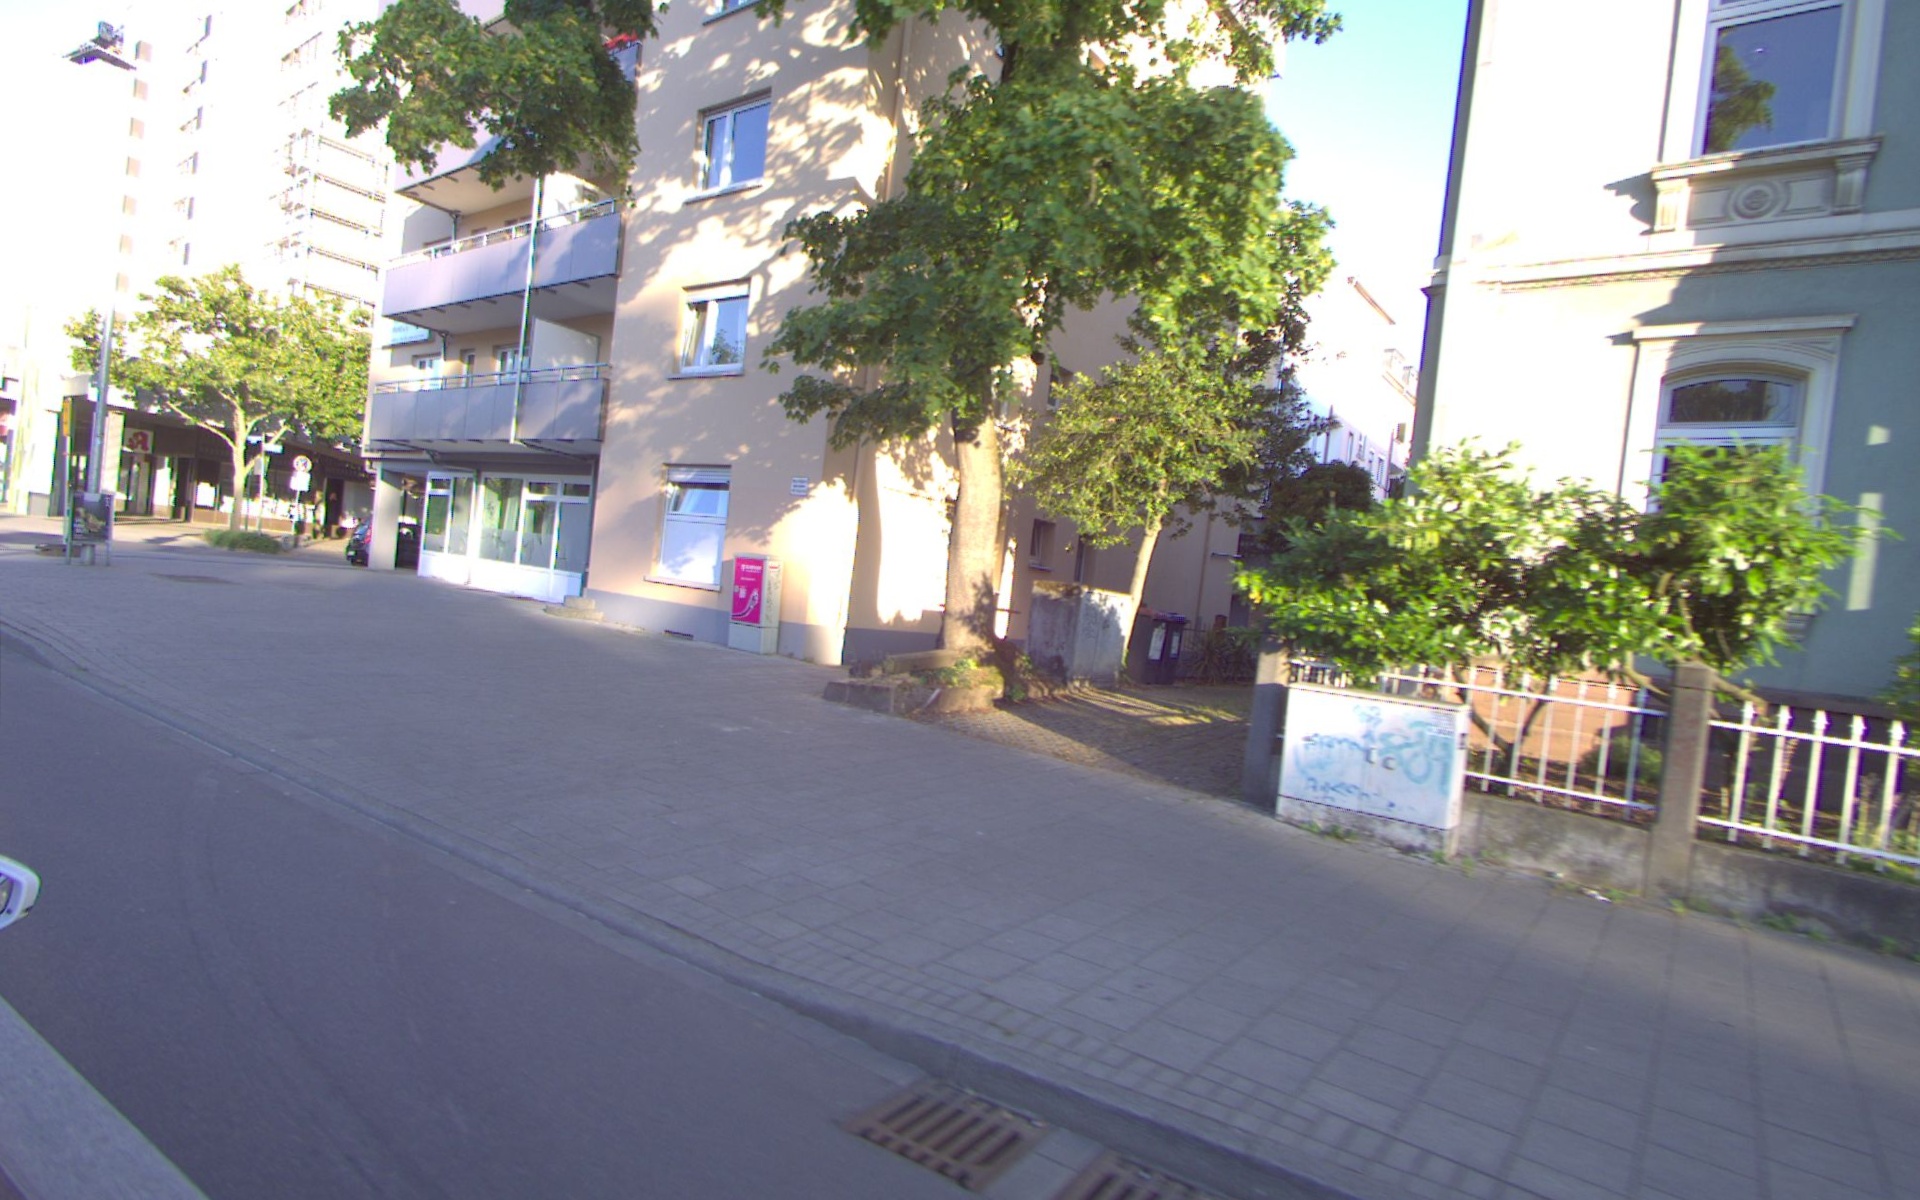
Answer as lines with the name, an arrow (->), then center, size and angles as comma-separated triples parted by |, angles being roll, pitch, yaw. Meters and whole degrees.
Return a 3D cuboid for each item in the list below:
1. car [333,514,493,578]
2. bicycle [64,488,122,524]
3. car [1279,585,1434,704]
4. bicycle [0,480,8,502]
car -> -17.020, -1.637, 31.442 | 1.682, 1.605, 4.032 | 4, 0, 40
bicycle -> -34.541, -3.744, 40.079 | 1.985, 1.162, 0.691 | 7, -2, 18
car -> 7.615, 0.810, 19.055 | 1.795, 1.780, 4.509 | 8, 3, 31
bicycle -> -55.599, -6.372, 57.158 | 0.681, 1.162, 2.015 | 6, -3, 42
